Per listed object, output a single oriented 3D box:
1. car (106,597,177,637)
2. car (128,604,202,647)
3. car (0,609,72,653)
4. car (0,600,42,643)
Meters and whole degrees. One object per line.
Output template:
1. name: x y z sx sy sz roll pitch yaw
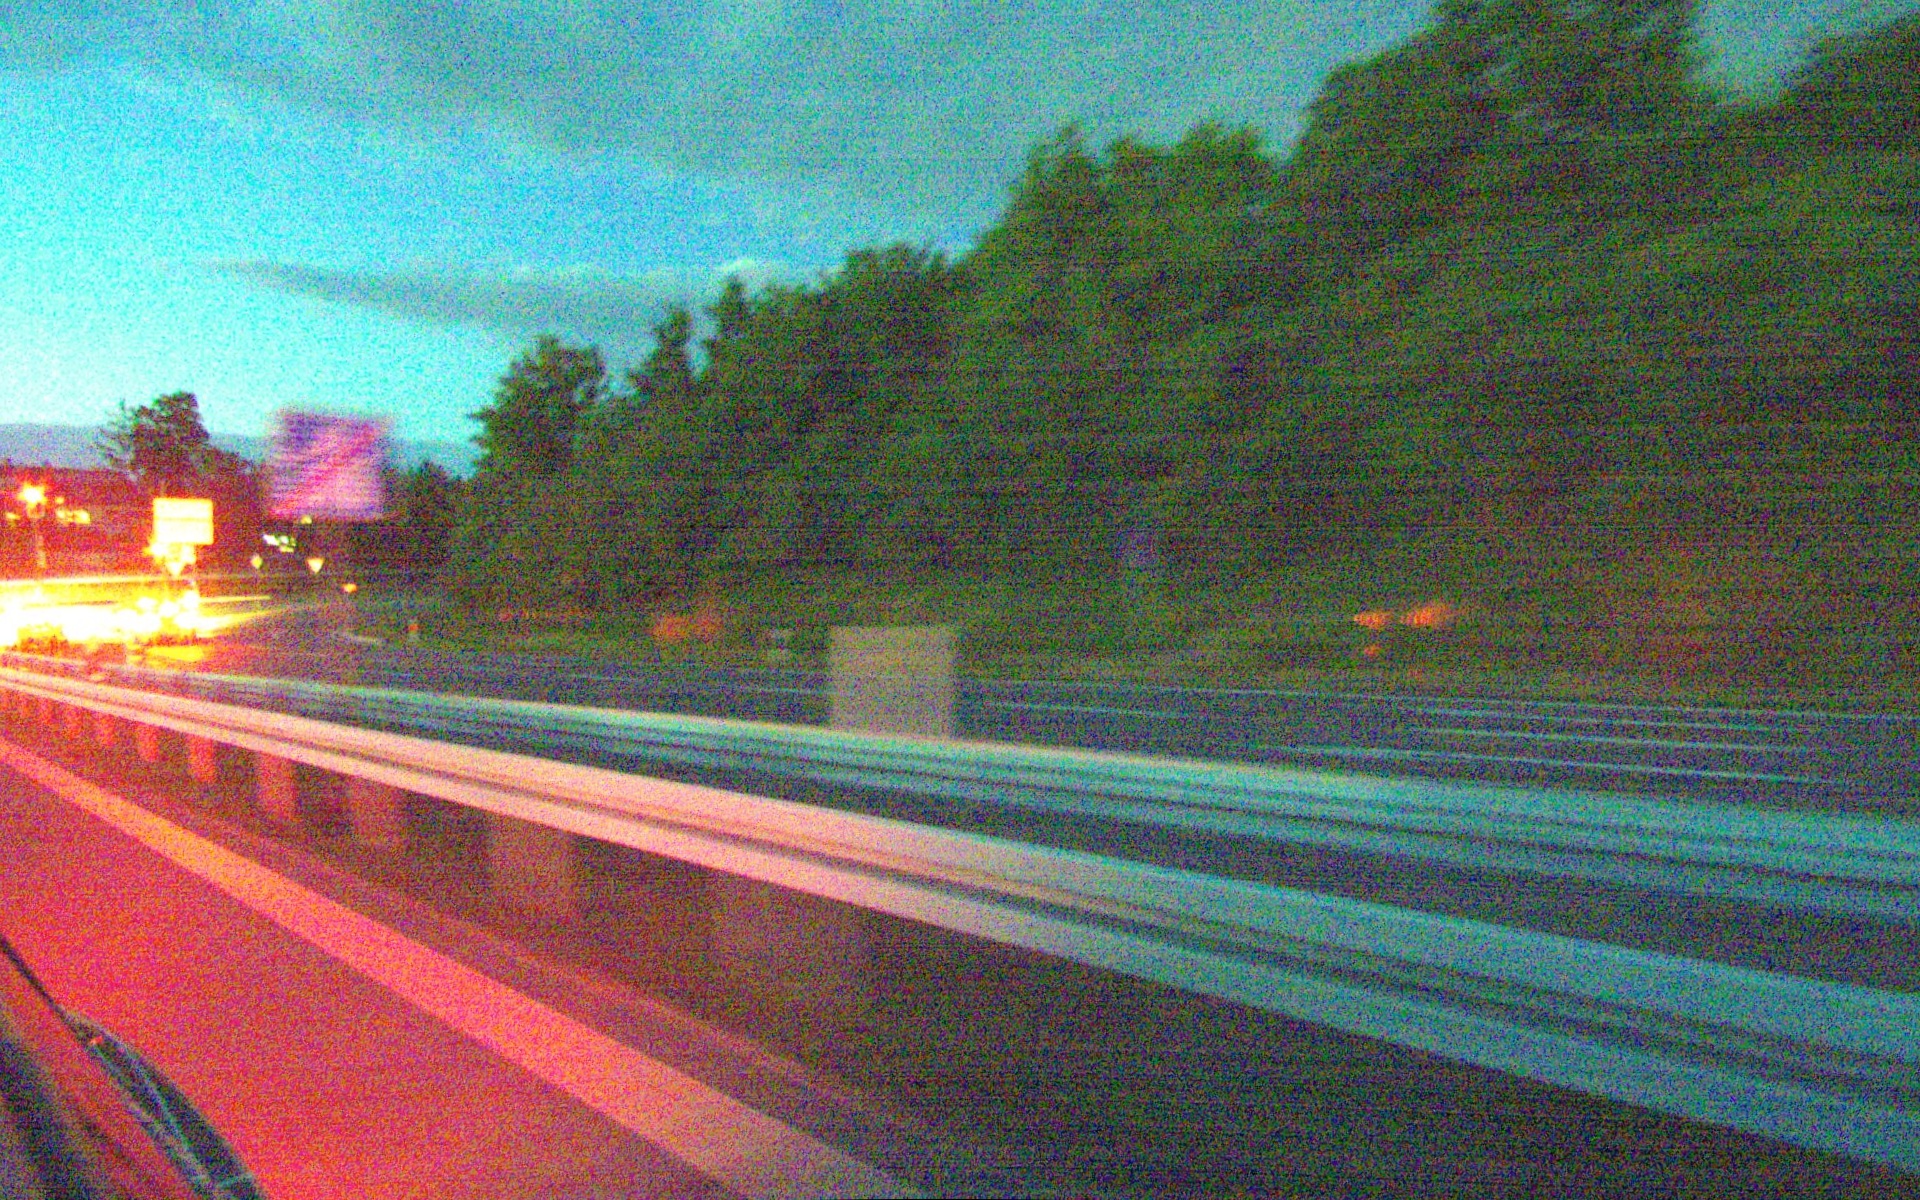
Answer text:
1. car: -36.386 0.728 44.947 3.999 1.471 1.736 2 5 41
2. car: -31.576 0.978 40.161 3.811 1.470 1.666 1 2 42
3. car: -34.986 1.133 38.216 3.984 1.455 1.692 0 3 42
4. car: -40.703 0.896 43.203 3.867 1.485 1.682 3 5 40
